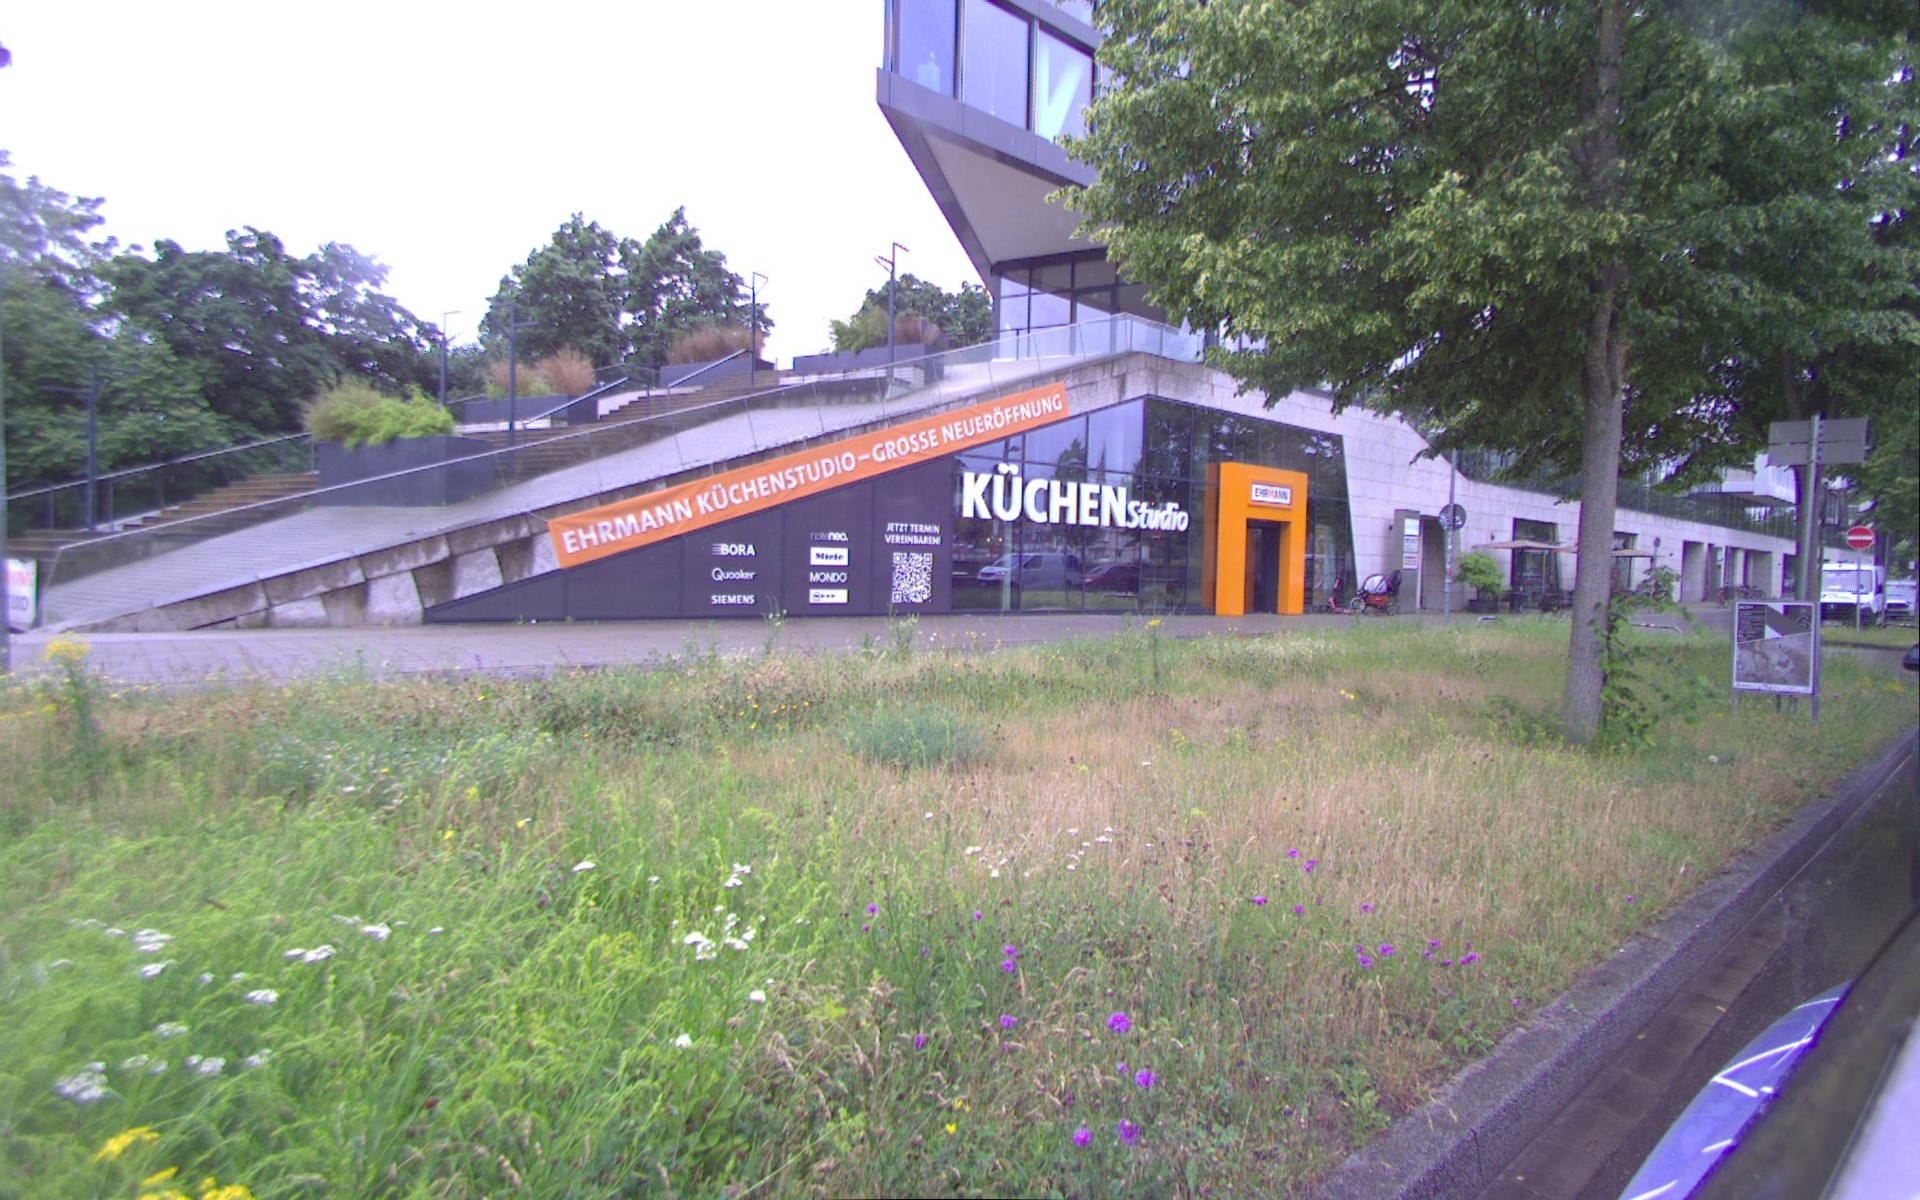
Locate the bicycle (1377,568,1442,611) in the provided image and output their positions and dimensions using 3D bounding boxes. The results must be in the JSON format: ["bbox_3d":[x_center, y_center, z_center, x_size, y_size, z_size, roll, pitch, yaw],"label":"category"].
[{"bbox_3d":[14.567,-0.341,32.722,2.650,1.364,0.882,-1,0,-41],"label":"bicycle"}]

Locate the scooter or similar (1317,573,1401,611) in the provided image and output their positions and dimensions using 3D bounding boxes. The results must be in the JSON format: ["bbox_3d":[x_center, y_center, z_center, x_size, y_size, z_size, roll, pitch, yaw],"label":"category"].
[{"bbox_3d":[12.176,-0.251,30.866,2.560,1.113,0.814,0,0,-23],"label":"scooter or similar"}]

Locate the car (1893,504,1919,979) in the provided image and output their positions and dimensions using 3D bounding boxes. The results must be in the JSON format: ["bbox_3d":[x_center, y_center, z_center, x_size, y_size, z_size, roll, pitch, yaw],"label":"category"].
[{"bbox_3d":[5.776,0.566,4.512,4.306,1.769,1.915,1,-1,-41],"label":"car"}]

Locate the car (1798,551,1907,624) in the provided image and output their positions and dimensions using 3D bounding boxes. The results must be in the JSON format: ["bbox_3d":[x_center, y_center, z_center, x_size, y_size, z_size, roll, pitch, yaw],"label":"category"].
[{"bbox_3d":[29.690,-0.411,33.614,5.008,2.229,2.083,-1,0,-41],"label":"car"}]
